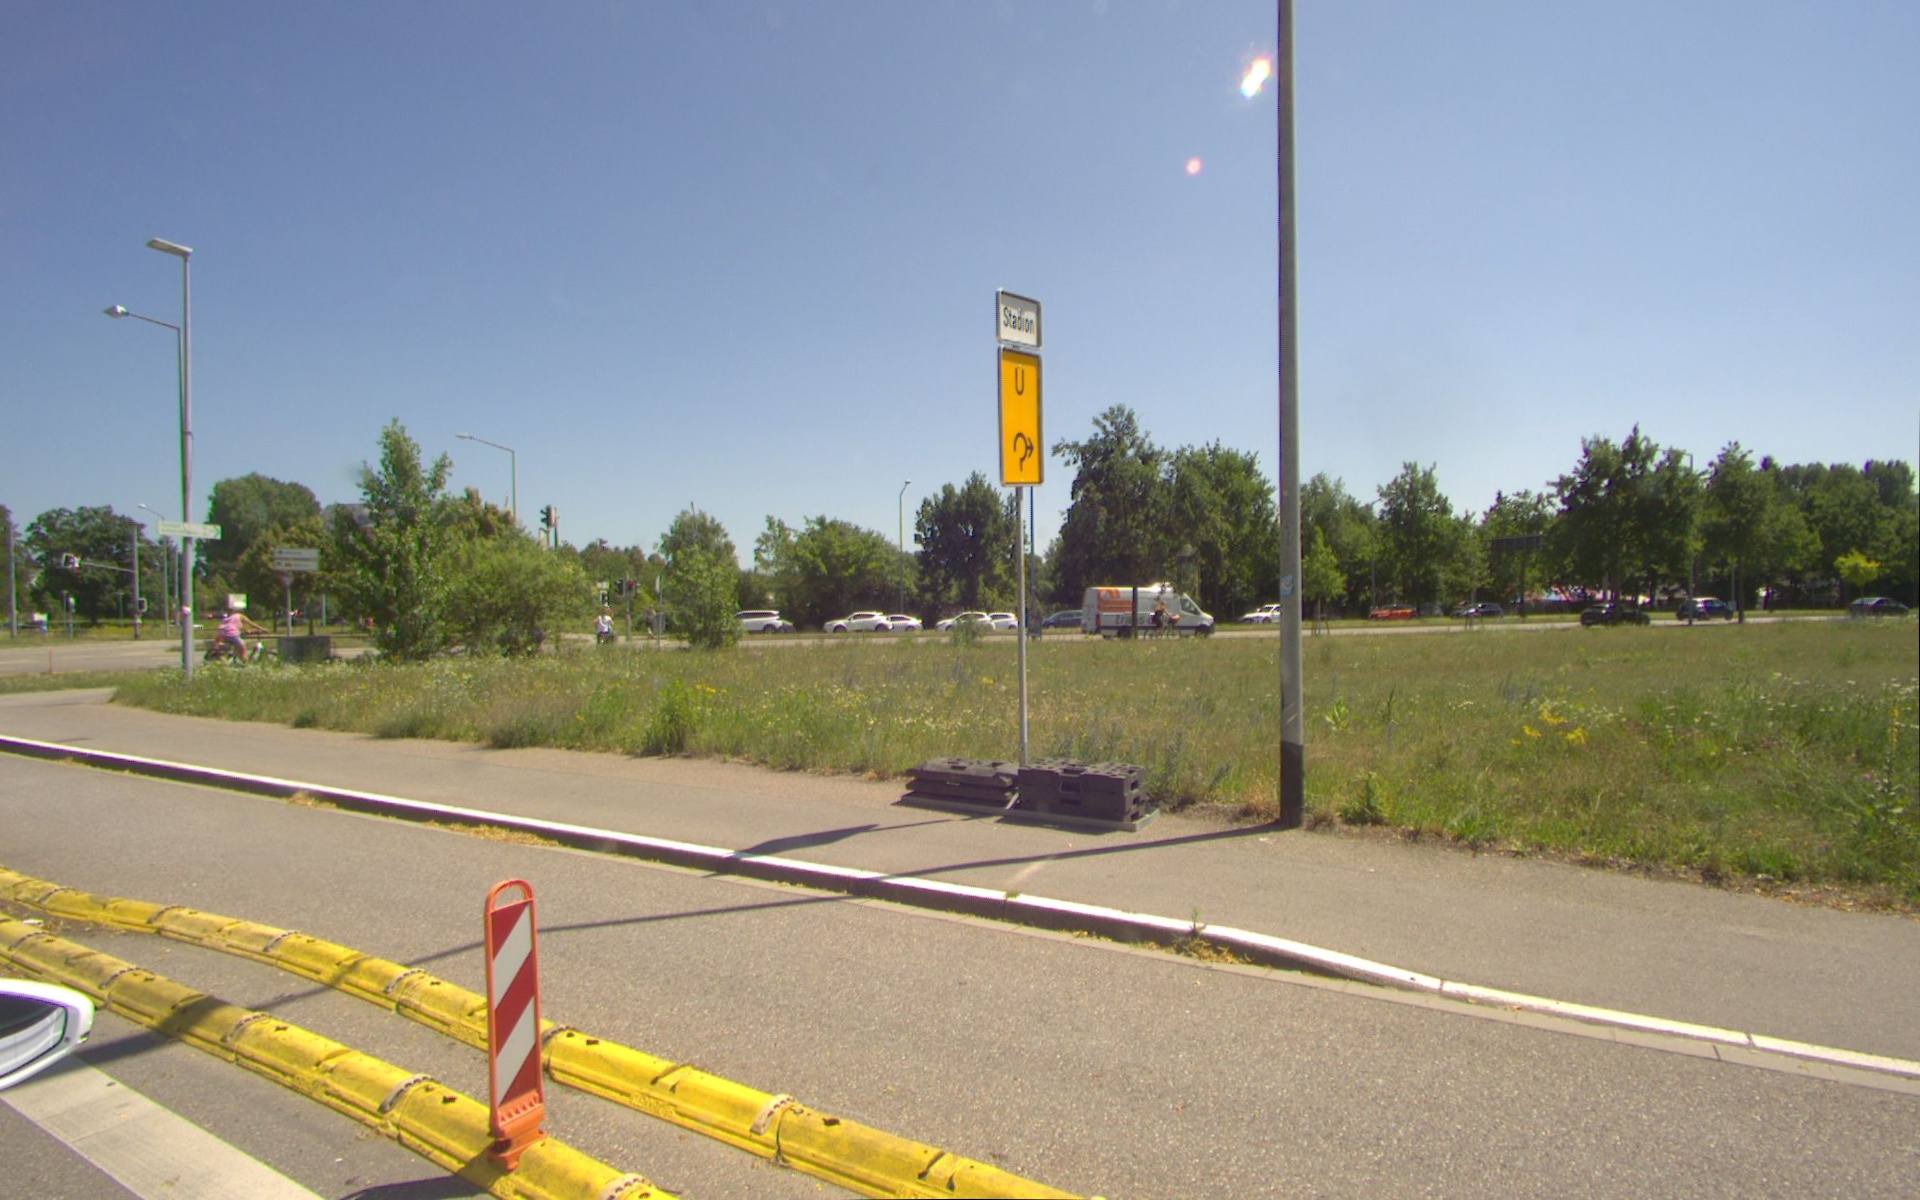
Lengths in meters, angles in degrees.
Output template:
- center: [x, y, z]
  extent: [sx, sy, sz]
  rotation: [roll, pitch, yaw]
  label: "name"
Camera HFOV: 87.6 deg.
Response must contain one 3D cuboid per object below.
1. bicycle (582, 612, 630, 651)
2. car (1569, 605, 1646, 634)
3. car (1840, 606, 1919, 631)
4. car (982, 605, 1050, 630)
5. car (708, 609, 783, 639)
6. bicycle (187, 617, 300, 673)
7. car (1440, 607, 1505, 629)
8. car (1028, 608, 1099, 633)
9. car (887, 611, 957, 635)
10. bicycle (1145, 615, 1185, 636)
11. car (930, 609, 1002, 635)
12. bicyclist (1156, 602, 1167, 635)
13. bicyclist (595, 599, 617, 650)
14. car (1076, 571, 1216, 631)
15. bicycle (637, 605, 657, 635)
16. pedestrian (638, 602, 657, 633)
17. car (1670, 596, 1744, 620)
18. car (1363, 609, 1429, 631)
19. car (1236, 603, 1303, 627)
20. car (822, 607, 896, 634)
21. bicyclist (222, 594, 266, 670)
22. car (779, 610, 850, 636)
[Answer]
- center: [-13.154, 1.179, 37.309]
  extent: [0.628, 1.370, 2.896]
  rotation: [0, -2, 4]
  label: "bicycle"
- center: [37.700, 1.120, 58.324]
  extent: [3.932, 1.573, 1.723]
  rotation: [1, 1, -20]
  label: "car"
- center: [63.068, 1.238, 68.724]
  extent: [4.340, 1.617, 1.996]
  rotation: [0, 1, -16]
  label: "car"
- center: [3.871, 1.200, 69.179]
  extent: [4.365, 1.613, 1.845]
  rotation: [0, 0, -16]
  label: "car"
- center: [-12.970, 1.473, 60.510]
  extent: [4.365, 1.758, 1.846]
  rotation: [0, -2, -16]
  label: "car"
- center: [-16.972, 1.040, 23.770]
  extent: [0.625, 1.237, 2.086]
  rotation: [0, 0, 34]
  label: "bicycle"
- center: [39.235, 1.377, 76.654]
  extent: [4.365, 1.612, 1.846]
  rotation: [0, -2, -16]
  label: "car"
- center: [6.866, 1.354, 66.620]
  extent: [4.365, 1.612, 1.846]
  rotation: [0, -2, -16]
  label: "car"
- center: [-2.554, 1.553, 66.819]
  extent: [4.365, 1.612, 1.846]
  rotation: [0, -2, -16]
  label: "car"
- center: [8.457, 1.053, 41.276]
  extent: [1.564, 0.895, 0.369]
  rotation: [0, -1, -10]
  label: "bicycle"
- center: [0.391, 1.441, 64.891]
  extent: [4.365, 1.612, 1.846]
  rotation: [0, -2, -16]
  label: "car"
- center: [8.306, 0.766, 41.247]
  extent: [0.349, 1.336, 0.379]
  rotation: [0, -1, -9]
  label: "bicyclist"
- center: [-13.148, 0.907, 37.169]
  extent: [0.597, 1.864, 0.572]
  rotation: [0, -1, 2]
  label: "bicyclist"
- center: [9.289, 0.090, 50.004]
  extent: [6.764, 2.864, 1.997]
  rotation: [0, -1, -18]
  label: "car"
- center: [-17.262, 1.117, 55.302]
  extent: [0.967, 1.617, 2.879]
  rotation: [0, -2, -16]
  label: "bicycle"
- center: [-17.215, 0.984, 55.212]
  extent: [0.954, 1.681, 0.885]
  rotation: [0, -1, -16]
  label: "pedestrian"
- center: [51.034, 0.545, 68.447]
  extent: [4.344, 1.617, 1.994]
  rotation: [0, 1, -20]
  label: "car"
- center: [32.376, 1.522, 74.355]
  extent: [4.337, 1.612, 1.846]
  rotation: [0, -2, -16]
  label: "car"
- center: [21.643, 1.104, 70.063]
  extent: [4.374, 1.612, 1.843]
  rotation: [1, -2, -24]
  label: "car"
- center: [-6.346, 1.297, 62.788]
  extent: [4.365, 1.612, 1.846]
  rotation: [0, -2, -16]
  label: "car"
- center: [-16.987, 0.745, 23.751]
  extent: [0.584, 1.776, 0.668]
  rotation: [1, 2, 34]
  label: "bicyclist"
- center: [-9.427, 1.499, 64.813]
  extent: [4.365, 1.612, 1.846]
  rotation: [0, -2, -16]
  label: "car"
